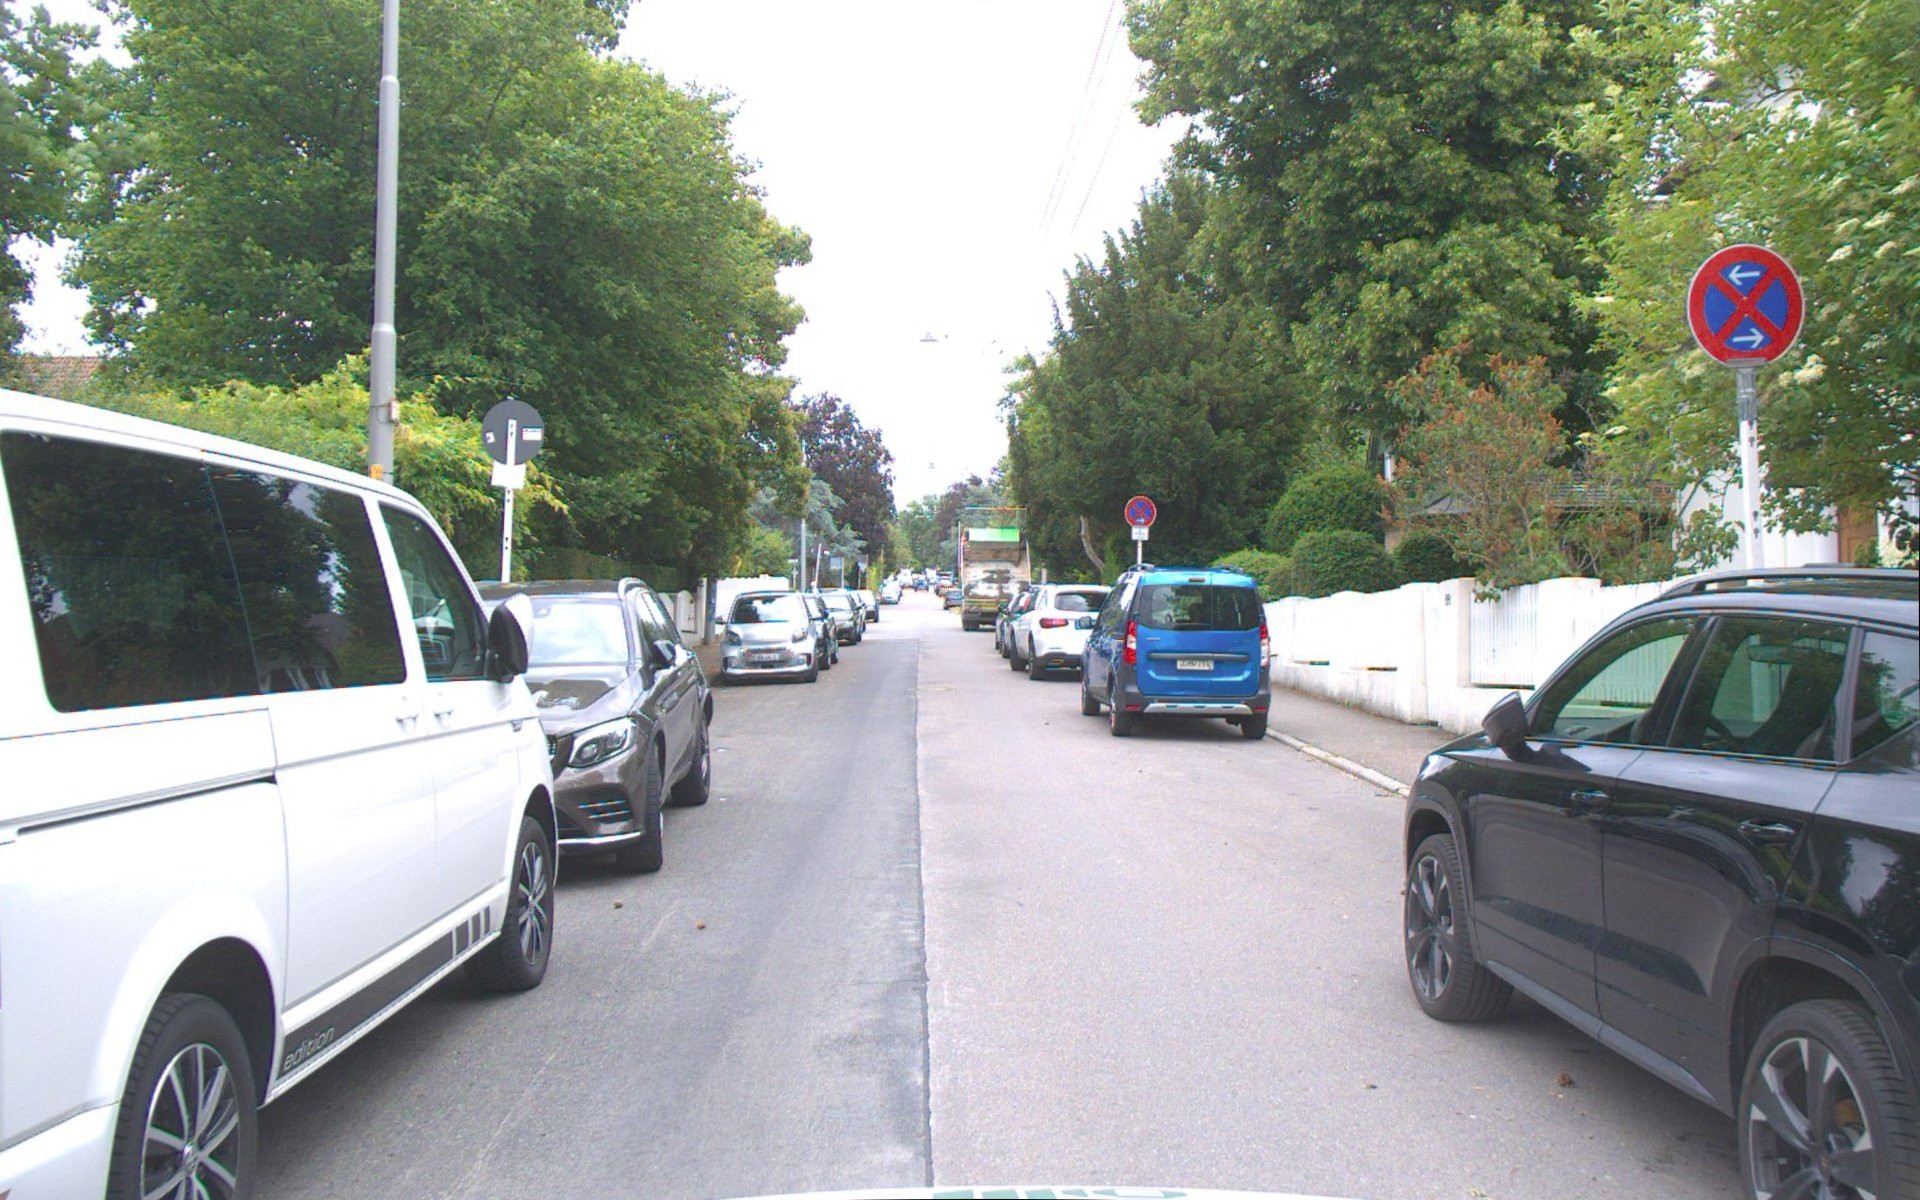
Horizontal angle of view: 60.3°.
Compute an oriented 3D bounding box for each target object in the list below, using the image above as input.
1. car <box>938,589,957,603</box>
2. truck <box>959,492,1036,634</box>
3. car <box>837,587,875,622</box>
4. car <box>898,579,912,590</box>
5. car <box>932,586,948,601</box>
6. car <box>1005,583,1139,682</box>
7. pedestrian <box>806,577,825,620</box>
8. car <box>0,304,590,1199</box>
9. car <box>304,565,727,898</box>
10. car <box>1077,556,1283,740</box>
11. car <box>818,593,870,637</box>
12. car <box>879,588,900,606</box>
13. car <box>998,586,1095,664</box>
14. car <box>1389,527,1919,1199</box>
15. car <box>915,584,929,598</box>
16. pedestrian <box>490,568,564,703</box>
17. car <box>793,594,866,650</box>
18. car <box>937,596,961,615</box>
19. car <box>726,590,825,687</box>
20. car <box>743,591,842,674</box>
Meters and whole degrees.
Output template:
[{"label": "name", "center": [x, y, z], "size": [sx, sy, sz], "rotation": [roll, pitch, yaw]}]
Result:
[{"label": "car", "center": [-1.324, -0.463, 174.024], "size": [1.774, 1.359, 3.631], "rotation": [2, 1, -2]}, {"label": "truck", "center": [1.280, -1.292, 60.647], "size": [2.473, 4.831, 7.186], "rotation": [1, 0, -1]}, {"label": "car", "center": [-4.596, 0.185, 73.464], "size": [1.604, 1.419, 3.987], "rotation": [-2, 0, -3]}, {"label": "car", "center": [-7.339, -2.086, 220.785], "size": [1.692, 1.432, 3.805], "rotation": [0, 0, 2]}, {"label": "car", "center": [-2.188, -0.714, 182.823], "size": [1.753, 1.556, 3.734], "rotation": [1, 0, 0]}, {"label": "car", "center": [1.955, 0.547, 30.097], "size": [1.723, 1.634, 4.570], "rotation": [1, 0, -5]}, {"label": "pedestrian", "center": [-6.976, -0.055, 79.779], "size": [0.835, 2.049, 0.700], "rotation": [2, 0, -7]}, {"label": "car", "center": [-2.486, 0.540, 4.781], "size": [1.817, 1.947, 4.618], "rotation": [-2, 0, -1]}, {"label": "car", "center": [-2.563, 0.658, 10.595], "size": [1.755, 1.651, 4.340], "rotation": [-1, 0, -4]}, {"label": "car", "center": [2.439, 0.480, 19.269], "size": [1.649, 1.861, 4.155], "rotation": [2, 0, -2]}, {"label": "car", "center": [-4.064, 0.494, 58.354], "size": [1.563, 1.458, 3.999], "rotation": [-2, 0, -1]}, {"label": "car", "center": [-6.383, -0.284, 150.217], "size": [1.676, 1.613, 4.001], "rotation": [1, 0, 1]}, {"label": "car", "center": [1.827, 0.509, 36.251], "size": [1.664, 1.598, 4.306], "rotation": [0, 0, -3]}, {"label": "car", "center": [2.695, 0.718, 4.771], "size": [1.715, 1.636, 4.074], "rotation": [2, -1, -2]}, {"label": "car", "center": [-4.635, -1.126, 202.253], "size": [1.601, 1.731, 3.493], "rotation": [1, 1, -2]}, {"label": "pedestrian", "center": [-5.329, 0.430, 20.388], "size": [0.596, 1.573, 0.797], "rotation": [5, -1, -2]}, {"label": "car", "center": [-3.638, 0.583, 46.773], "size": [1.607, 1.447, 4.550], "rotation": [-2, 0, 0]}, {"label": "car", "center": [-0.852, 0.413, 130.399], "size": [1.743, 1.515, 3.998], "rotation": [0, 0, -3]}, {"label": "car", "center": [-3.205, 0.632, 29.150], "size": [1.590, 1.560, 2.960], "rotation": [-2, 0, -5]}, {"label": "car", "center": [-3.331, 0.608, 33.470], "size": [1.621, 1.507, 3.887], "rotation": [-2, 0, -1]}]
